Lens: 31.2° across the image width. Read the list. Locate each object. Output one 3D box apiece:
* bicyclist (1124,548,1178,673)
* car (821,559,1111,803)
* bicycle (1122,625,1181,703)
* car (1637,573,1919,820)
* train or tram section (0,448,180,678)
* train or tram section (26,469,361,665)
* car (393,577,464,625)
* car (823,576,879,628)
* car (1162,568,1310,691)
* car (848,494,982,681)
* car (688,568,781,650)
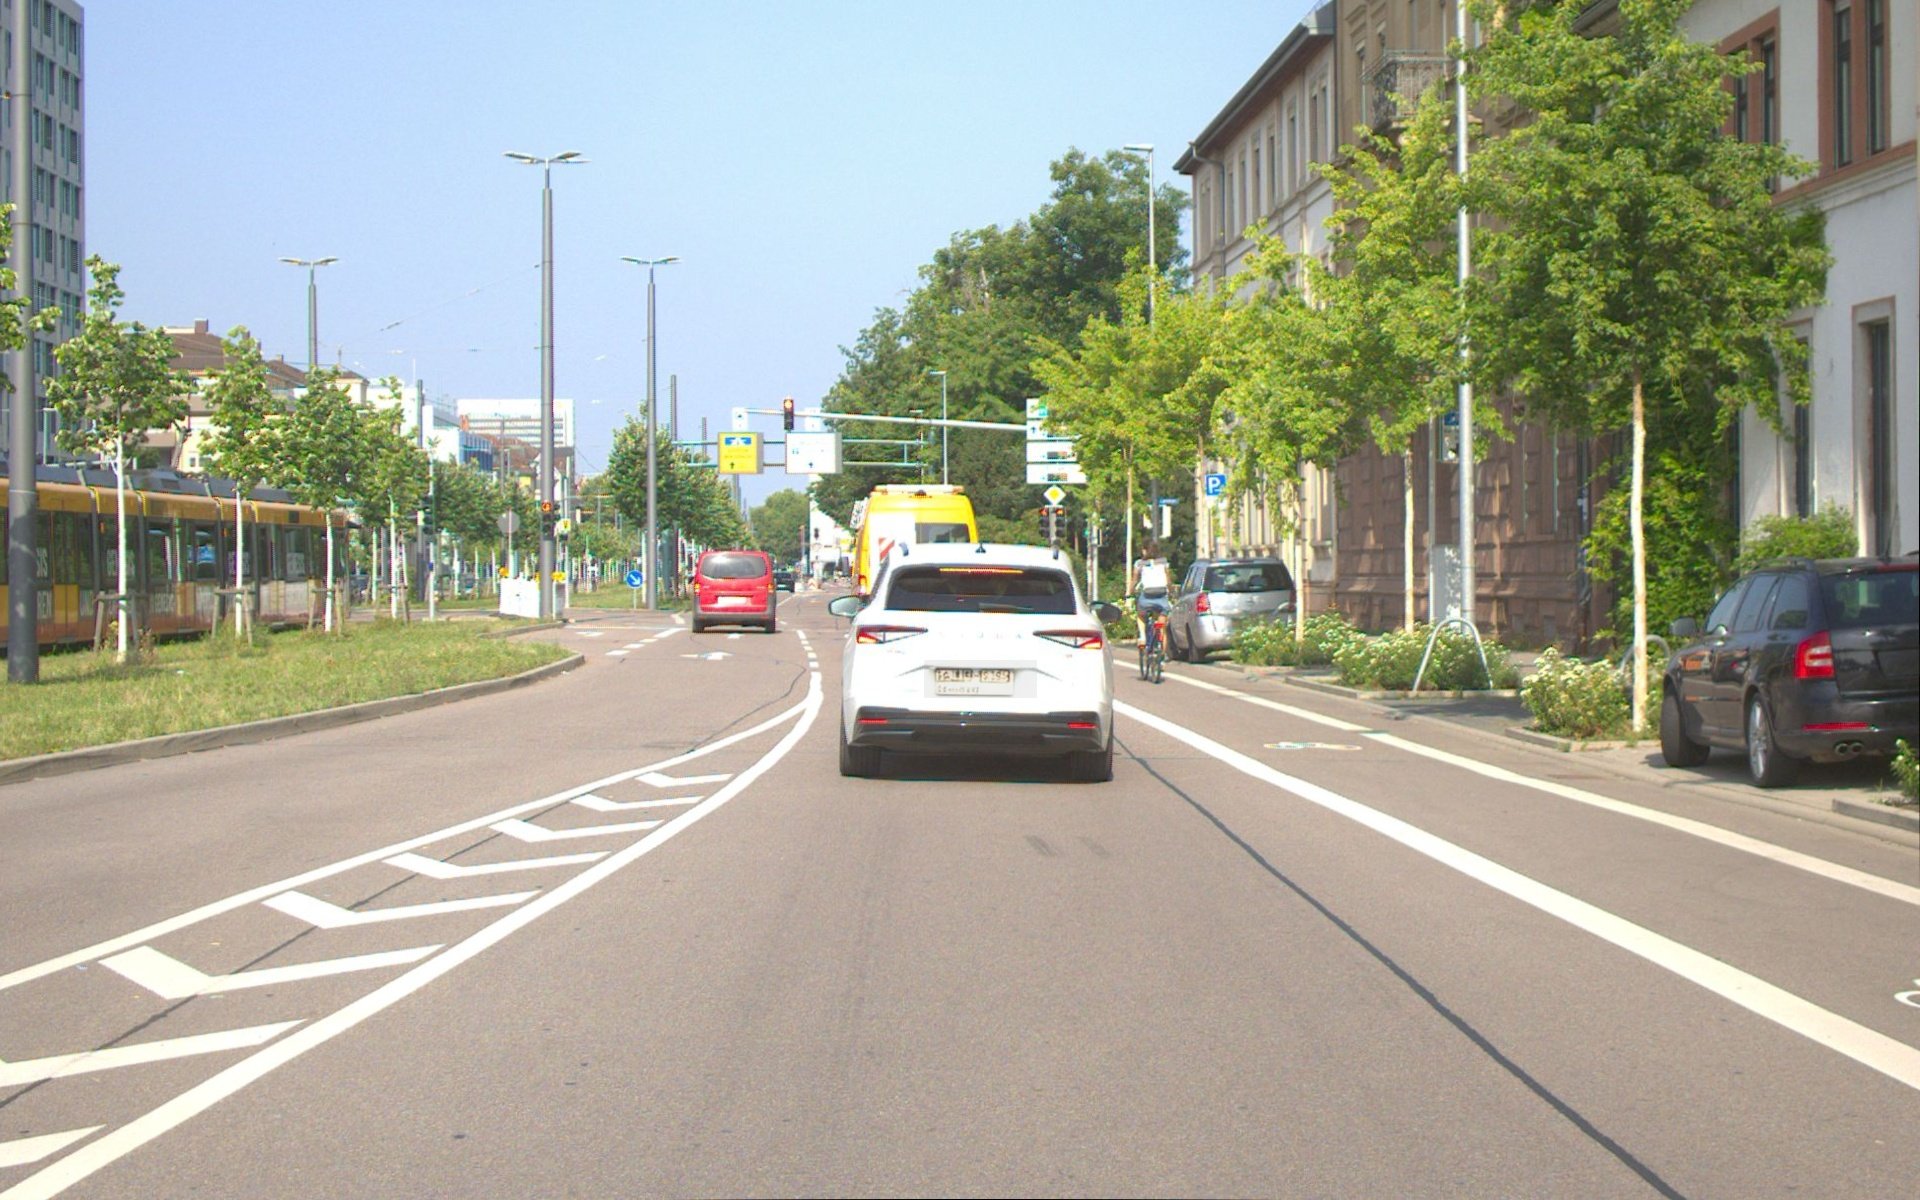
[{"bbox_3d":[2.420,0.132,43.683,0.639,1.571,0.771,0,0,0],"label":"bicyclist"},{"bbox_3d":[-0.027,0.506,24.140,1.869,1.569,4.000,0,0,-2],"label":"car"},{"bbox_3d":[2.423,0.804,43.613,0.655,0.935,1.517,0,0,0],"label":"bicycle"},{"bbox_3d":[5.909,0.576,23.069,1.673,1.478,4.312,-1,0,-3],"label":"car"},{"bbox_3d":[-16.702,-0.628,57.324,2.906,3.663,18.136,2,0,1],"label":"train or tram section"},{"bbox_3d":[-16.402,-0.629,75.524,2.906,3.694,18.289,2,0,1],"label":"train or tram section"},{"bbox_3d":[-18.291,0.018,118.383,1.816,1.616,4.000,0,0,0],"label":"car"},{"bbox_3d":[-3.842,0.061,121.527,1.930,1.815,4.000,0,0,-1],"label":"car"},{"bbox_3d":[4.230,0.425,53.168,1.812,1.806,3.836,0,1,-3],"label":"car"},{"bbox_3d":[-0.764,-0.269,54.811,2.020,2.786,5.402,0,2,-2],"label":"car"},{"bbox_3d":[-5.131,0.195,78.508,1.930,1.815,4.000,0,0,-1],"label":"car"}]
